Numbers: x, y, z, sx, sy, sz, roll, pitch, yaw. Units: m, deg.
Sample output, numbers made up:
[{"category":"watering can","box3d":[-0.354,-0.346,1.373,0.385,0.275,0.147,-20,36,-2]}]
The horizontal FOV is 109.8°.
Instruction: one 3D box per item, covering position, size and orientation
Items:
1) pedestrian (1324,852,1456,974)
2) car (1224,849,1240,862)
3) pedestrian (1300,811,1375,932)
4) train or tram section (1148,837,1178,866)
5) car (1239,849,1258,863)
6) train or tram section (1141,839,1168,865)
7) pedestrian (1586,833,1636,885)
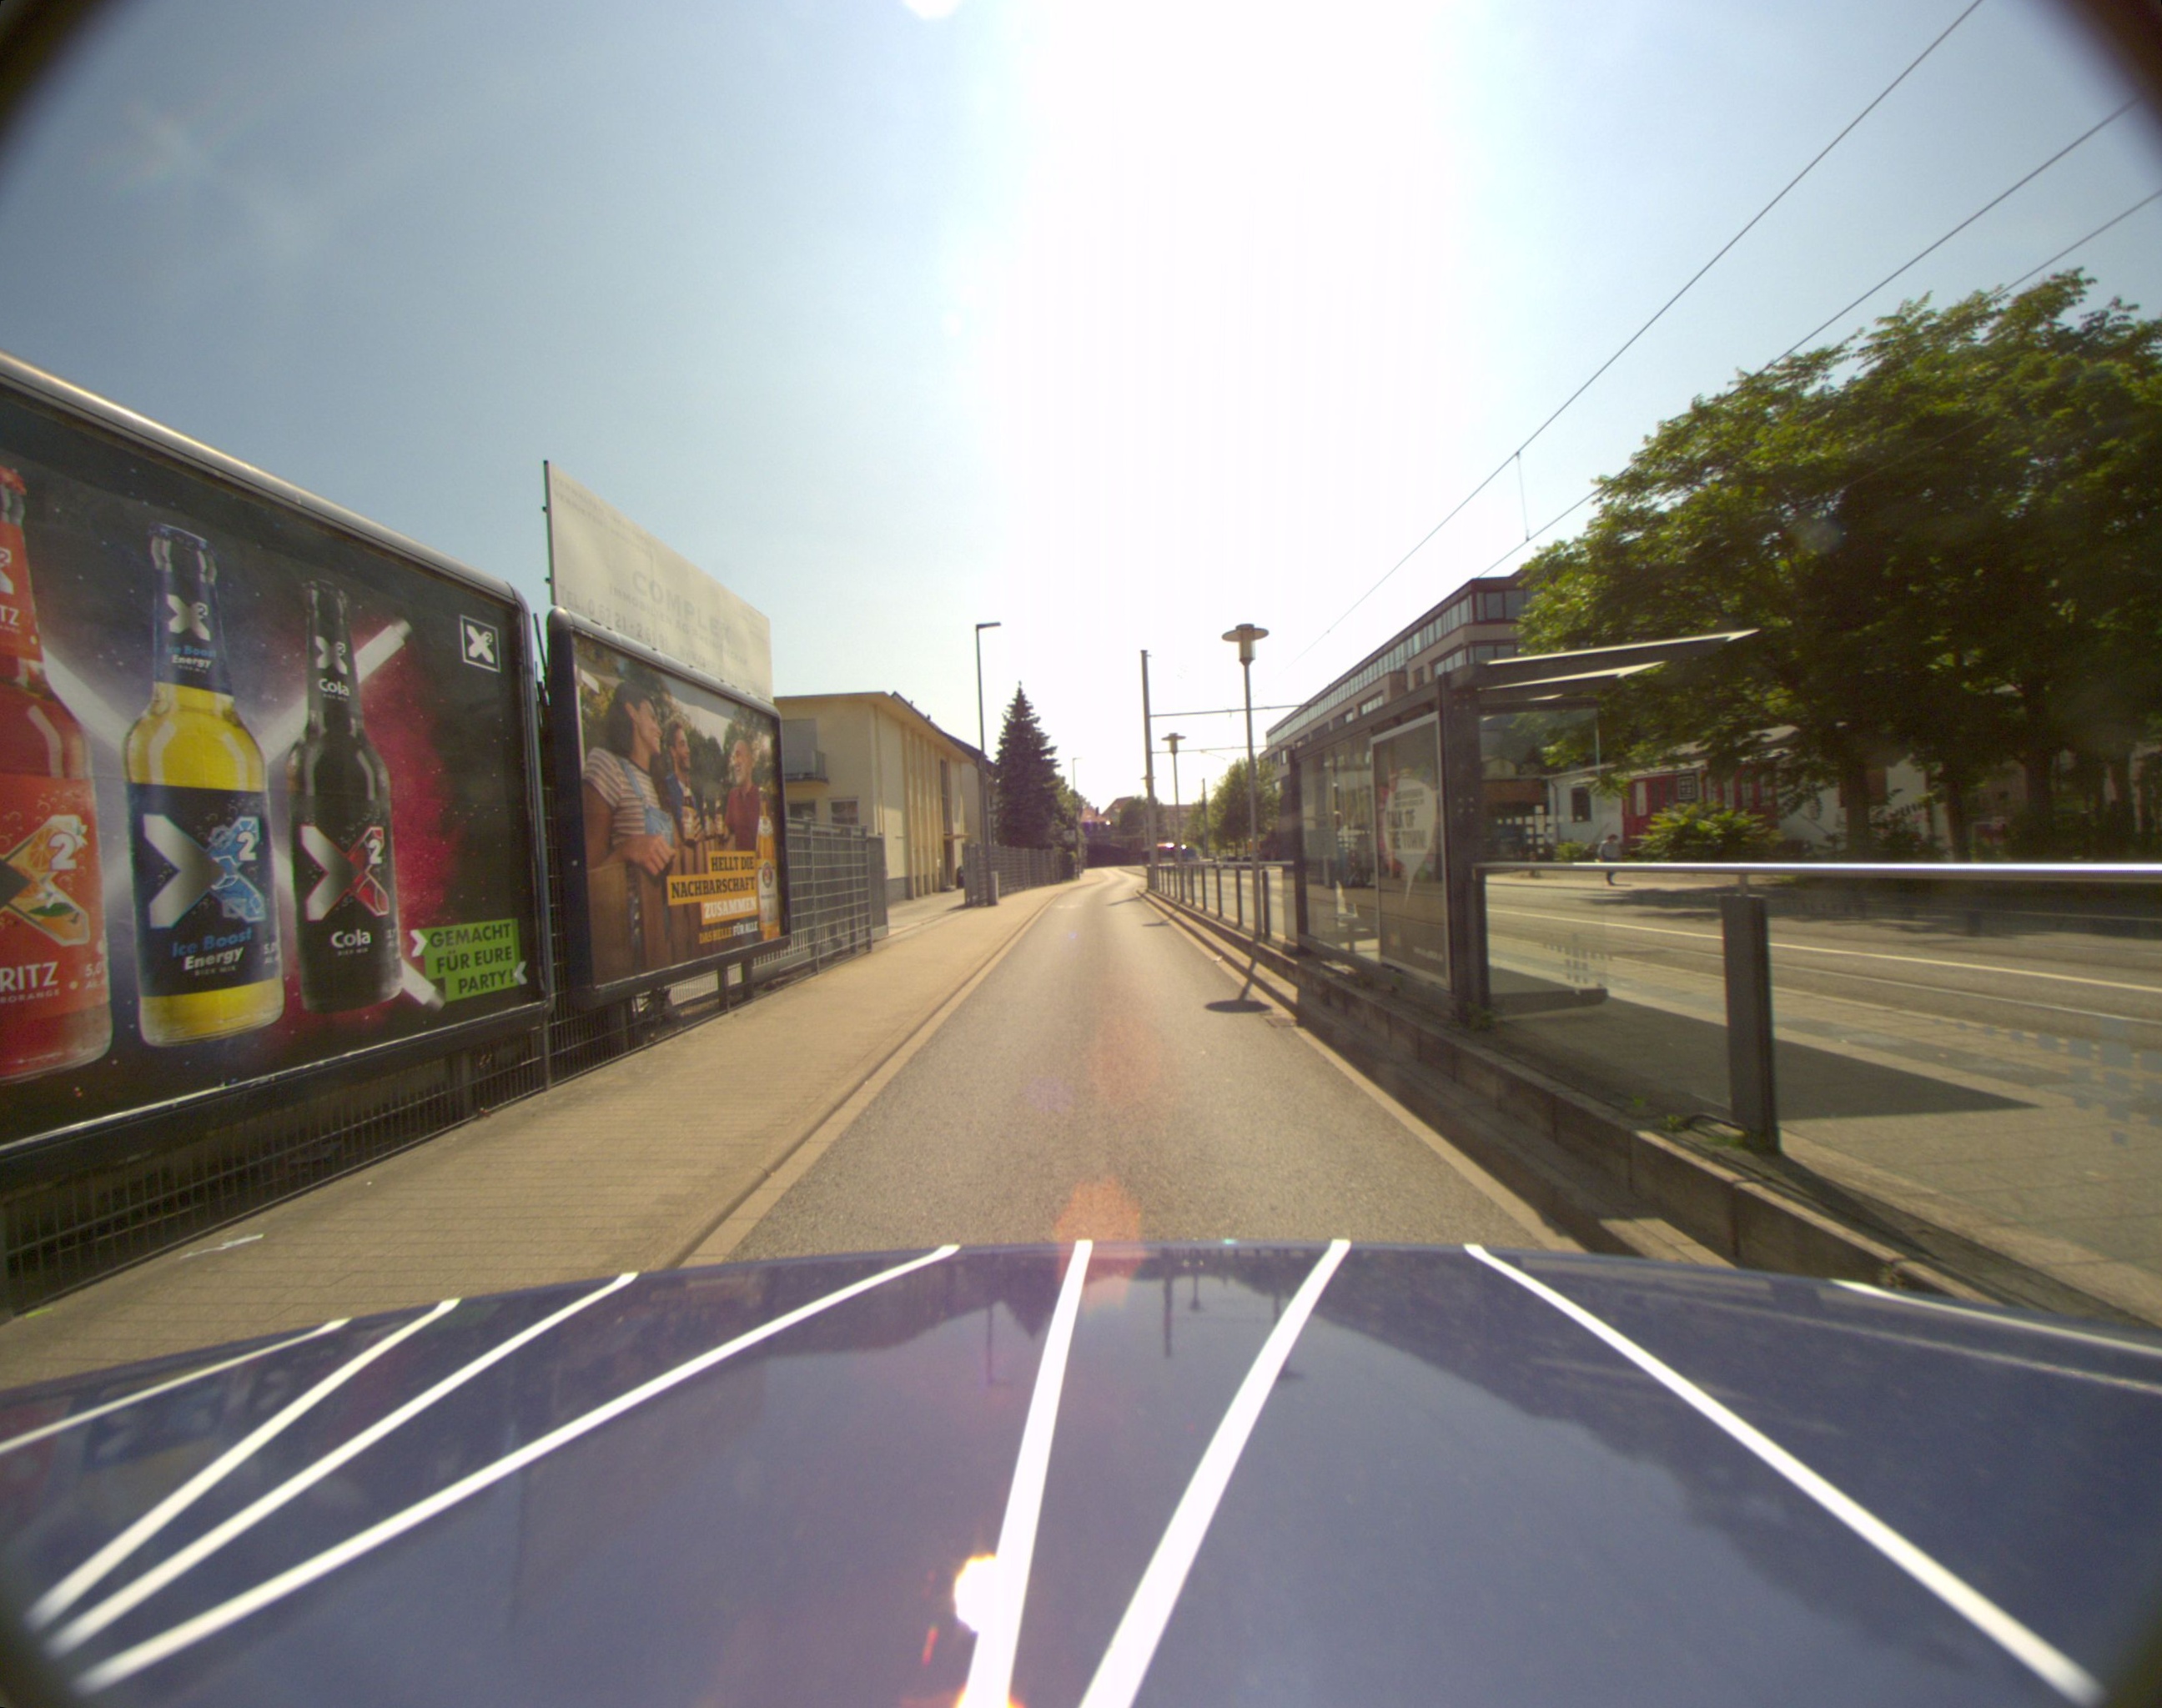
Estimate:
[{"category":"pedestrian","box3d":[3.027,0.561,7.515,0.945,1.093,0.726,-4,0,0]},{"category":"car","box3d":[20.046,0.224,101.093,1.870,1.608,4.002,-2,0,8]},{"category":"pedestrian","box3d":[3.866,0.254,11.520,0.725,1.714,0.945,-4,0,1]},{"category":"train or tram section","box3d":[10.794,-0.286,101.356,2.680,3.464,12.328,-3,0,1]},{"category":"car","box3d":[20.622,0.183,93.564,1.997,1.613,4.002,-2,0,8]},{"category":"train or tram section","box3d":[10.913,-0.231,113.990,2.680,3.464,13.390,-3,0,1]},{"category":"pedestrian","box3d":[16.198,0.147,23.247,0.873,1.518,0.846,-3,0,0]}]
